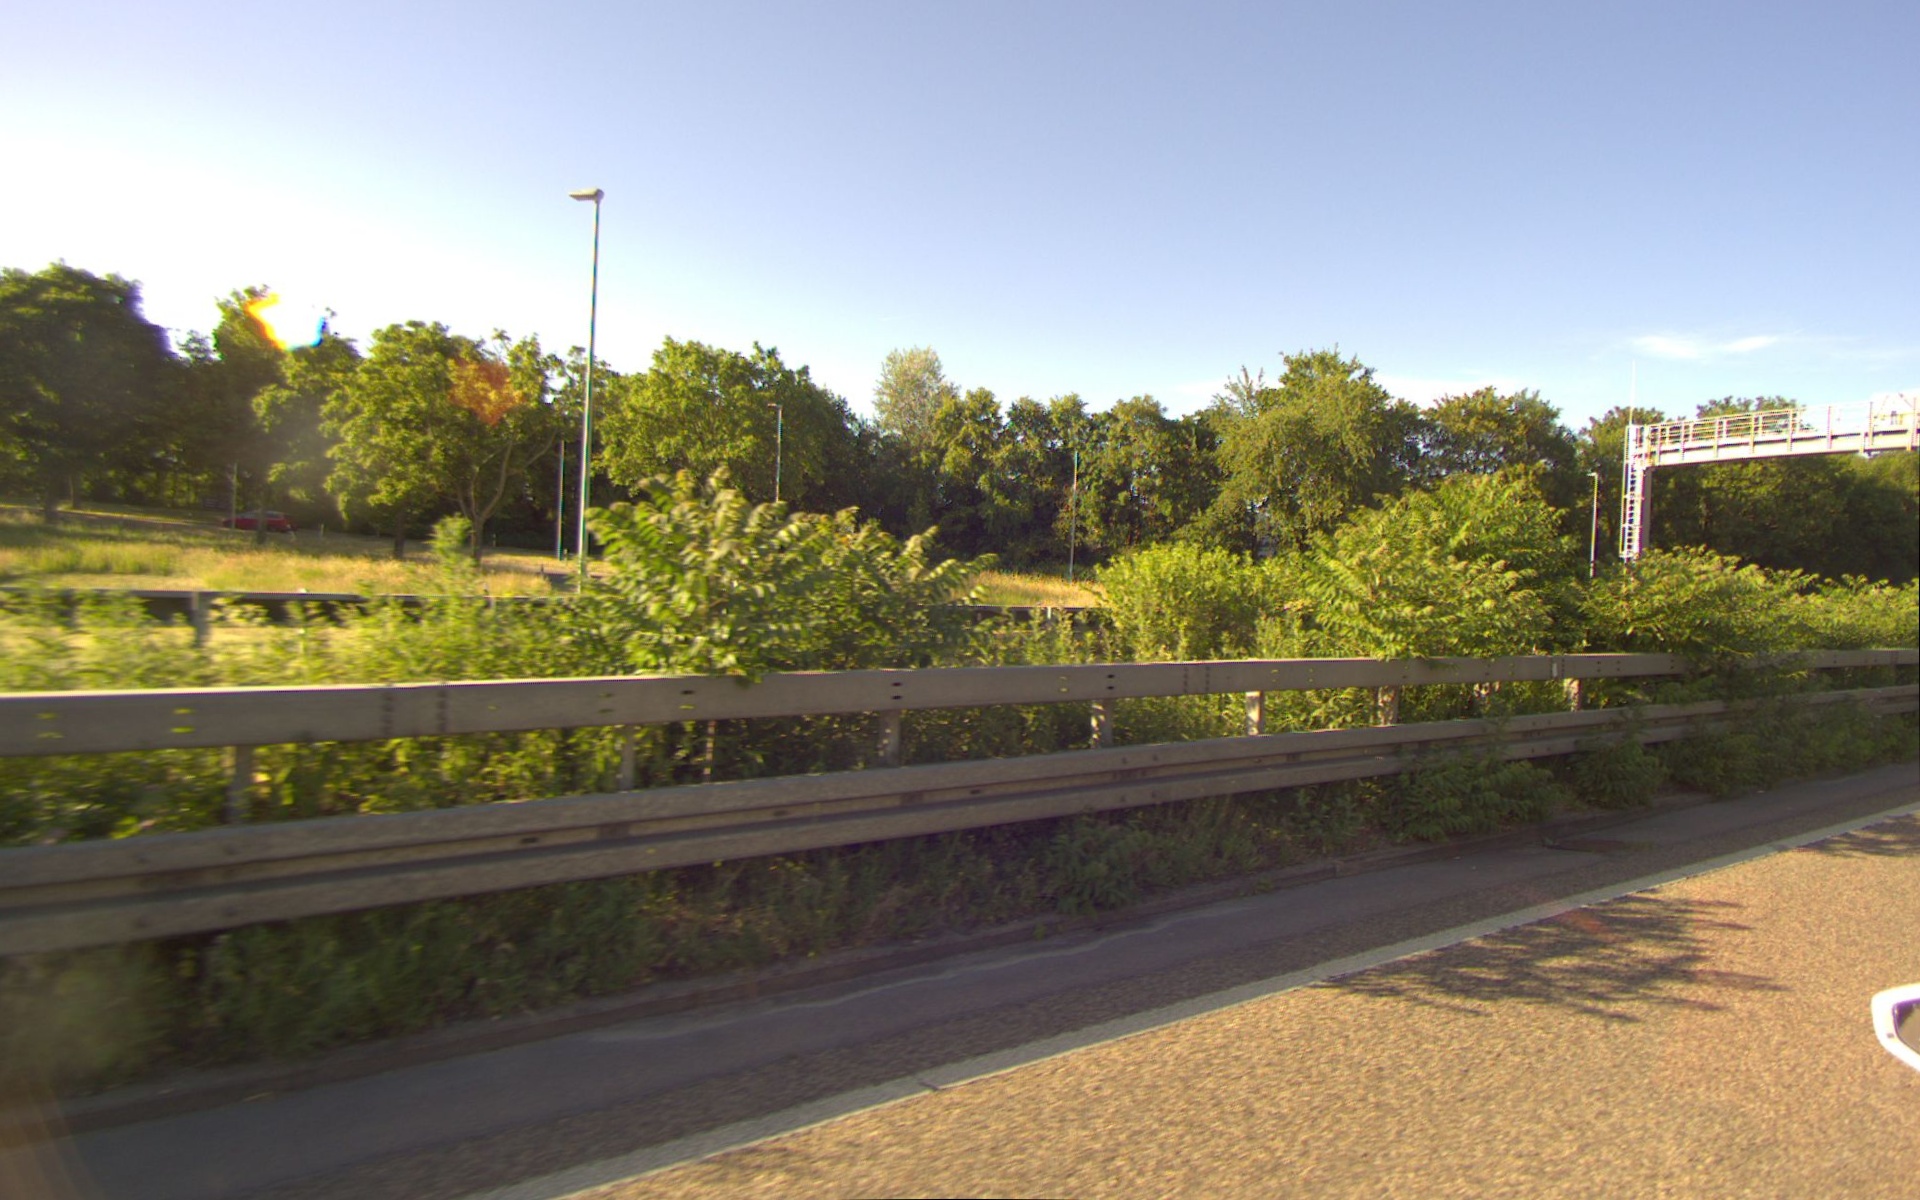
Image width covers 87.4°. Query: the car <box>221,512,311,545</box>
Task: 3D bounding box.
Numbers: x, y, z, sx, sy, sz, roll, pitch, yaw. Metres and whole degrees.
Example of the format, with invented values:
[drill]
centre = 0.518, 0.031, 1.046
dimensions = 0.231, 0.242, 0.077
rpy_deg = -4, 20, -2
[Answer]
[car]
centre = -49.541, -5.079, 71.774
dimensions = 4.851, 2.041, 1.996
rpy_deg = 2, 1, -11
